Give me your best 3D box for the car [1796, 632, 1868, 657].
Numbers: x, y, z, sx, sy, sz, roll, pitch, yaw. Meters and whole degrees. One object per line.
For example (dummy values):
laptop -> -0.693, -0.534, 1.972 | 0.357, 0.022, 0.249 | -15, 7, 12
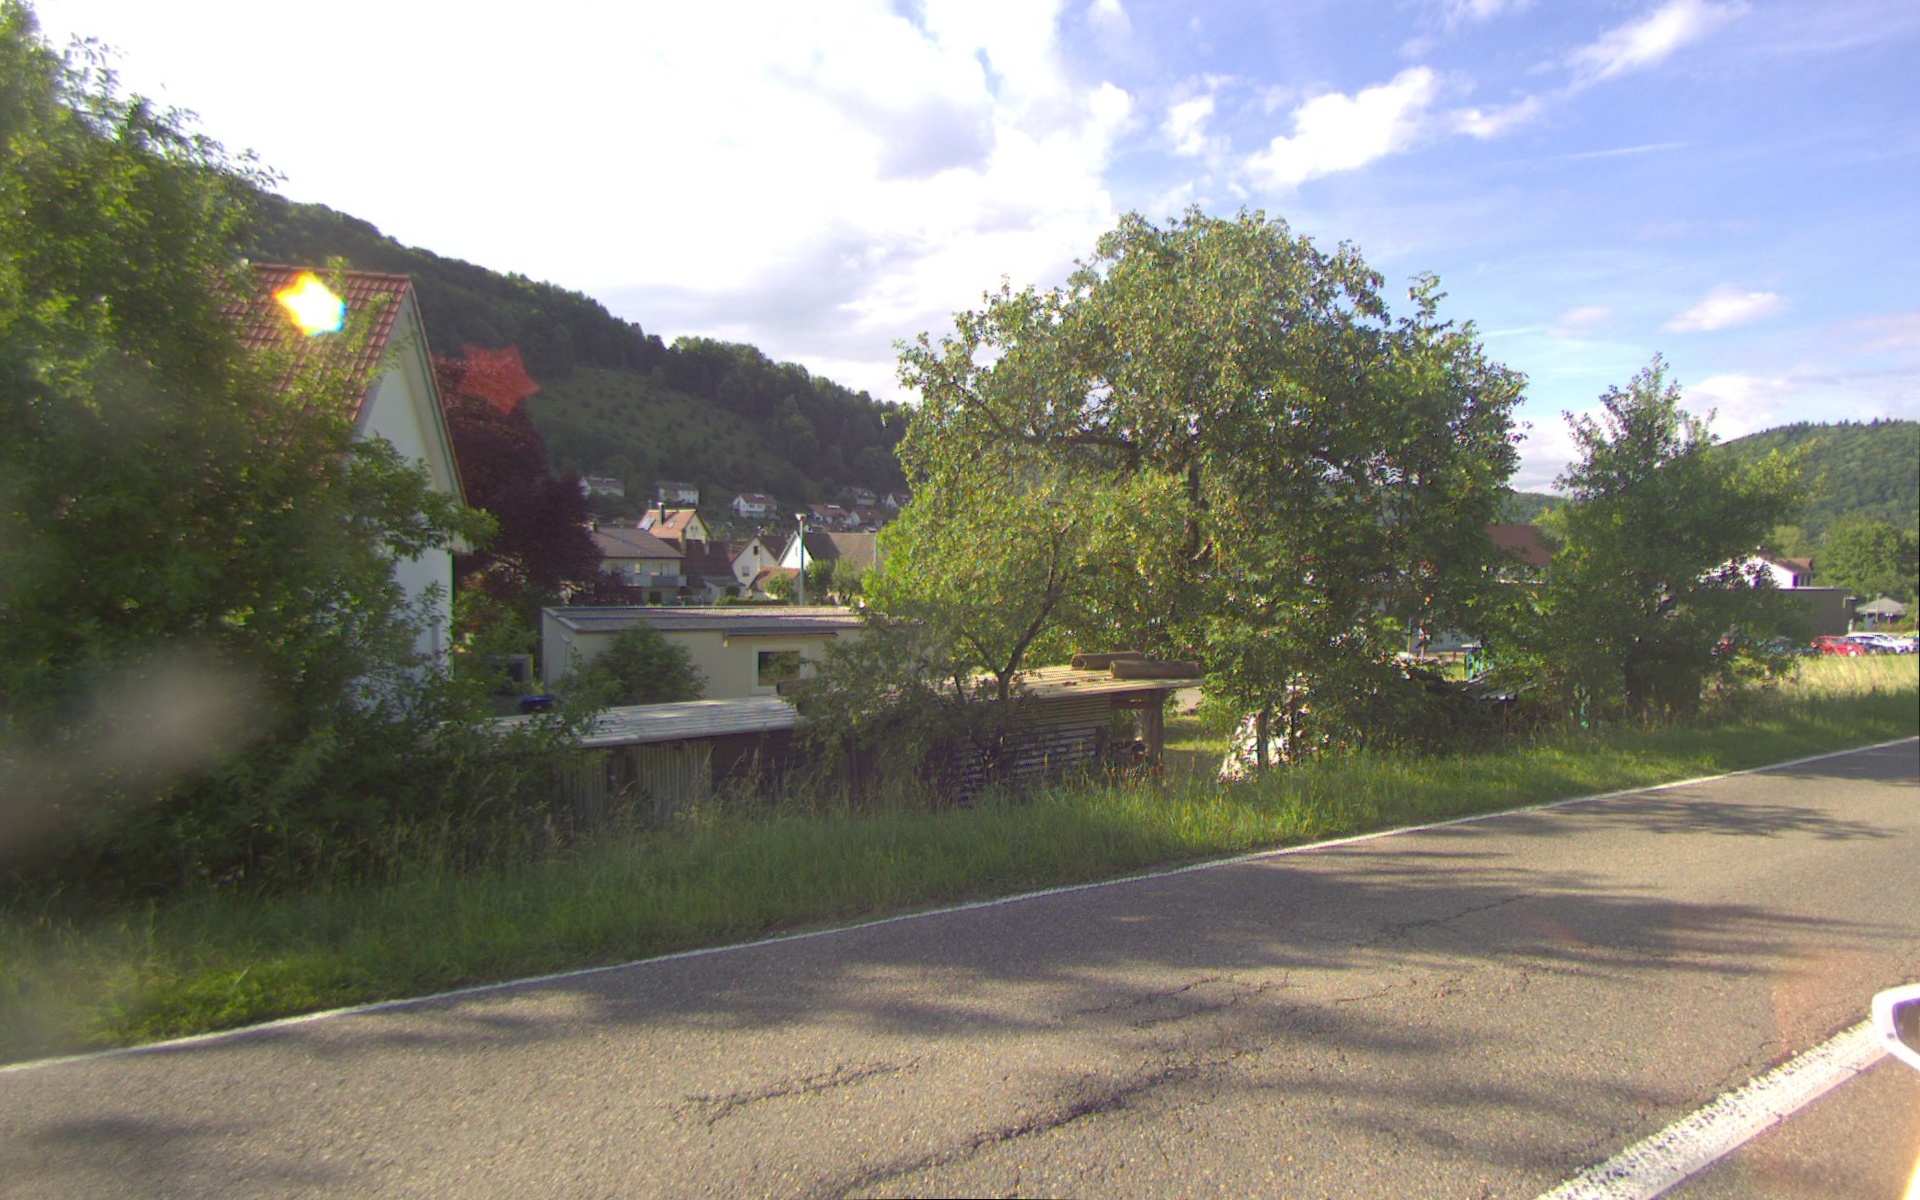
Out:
car -> 68.310, 3.483, 78.728 | 1.981, 1.734, 3.959 | 2, 0, -36

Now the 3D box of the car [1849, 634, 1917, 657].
car -> 77.930, 3.793, 84.830 | 1.981, 1.734, 3.959 | 2, 0, -36

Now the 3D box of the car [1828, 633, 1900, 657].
car -> 72.510, 3.614, 80.575 | 1.981, 1.734, 3.959 | 2, 0, -36

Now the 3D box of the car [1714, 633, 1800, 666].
car -> 56.079, 3.445, 70.728 | 1.981, 2.034, 4.375 | 2, 0, -36

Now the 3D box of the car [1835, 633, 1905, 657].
car -> 75.213, 3.705, 83.050 | 1.981, 1.734, 3.959 | 2, 0, -36

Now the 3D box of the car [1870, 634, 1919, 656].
car -> 82.653, 3.946, 88.068 | 1.981, 1.734, 3.959 | 2, 0, -36

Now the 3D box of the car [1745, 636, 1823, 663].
car -> 59.573, 3.556, 72.675 | 1.981, 1.734, 3.959 | 2, 0, -36

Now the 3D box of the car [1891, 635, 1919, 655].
car -> 85.308, 4.028, 88.921 | 1.981, 1.734, 3.959 | 2, 0, -36
